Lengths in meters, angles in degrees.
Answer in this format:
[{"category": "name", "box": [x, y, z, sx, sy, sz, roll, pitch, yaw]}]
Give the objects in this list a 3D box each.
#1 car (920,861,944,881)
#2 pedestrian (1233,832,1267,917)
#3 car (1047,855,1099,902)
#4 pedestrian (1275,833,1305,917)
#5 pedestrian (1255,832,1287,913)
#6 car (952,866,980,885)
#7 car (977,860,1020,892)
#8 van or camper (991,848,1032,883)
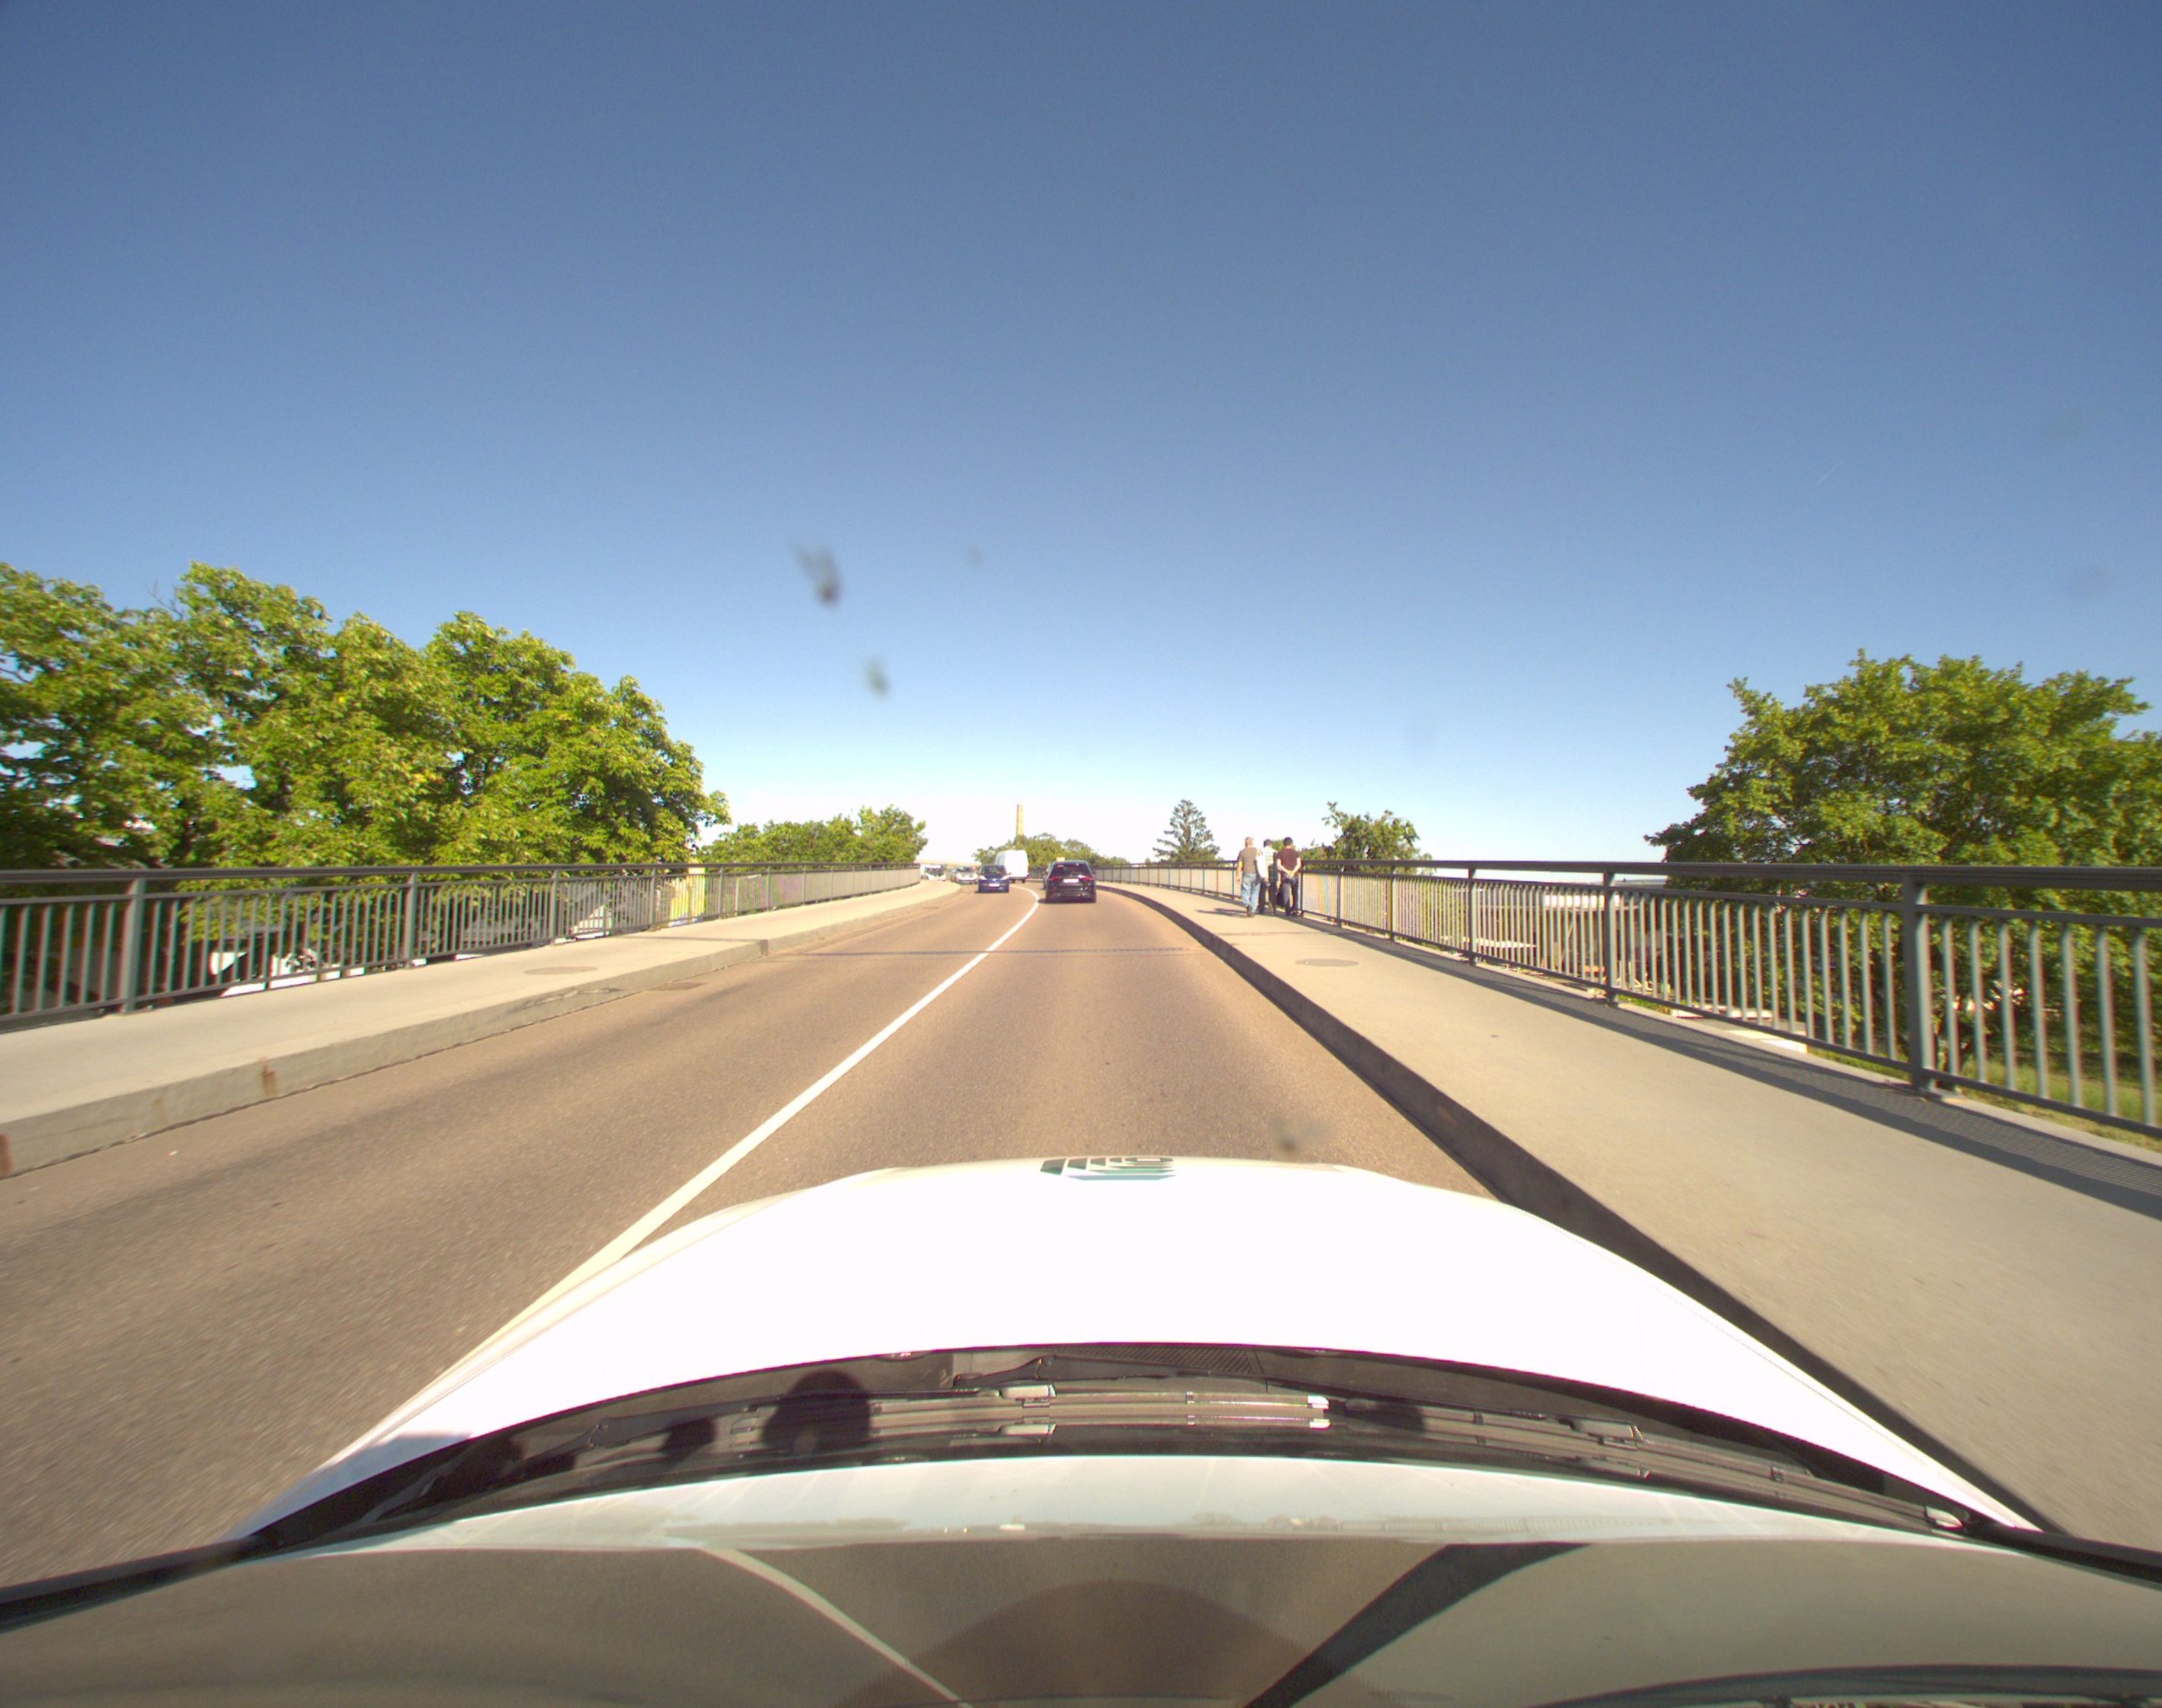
[{"category": "car", "box": [-15.416, 1.758, 84.195, 1.854, 1.798, 3.974, -1, 2, -20]}, {"category": "pedestrian", "box": [3.581, 0.438, 17.320, 0.600, 1.750, 0.717, 0, -3, 2]}, {"category": "car", "box": [-0.349, 0.872, 29.915, 1.765, 1.593, 3.985, 1, -1, -3]}, {"category": "pedestrian", "box": [4.423, 0.447, 17.246, 0.470, 1.750, 0.654, 0, -3, 2]}, {"category": "pedestrian", "box": [4.228, 0.414, 18.141, 0.547, 1.750, 0.739, 0, -3, 2]}, {"category": "car", "box": [-9.252, 1.724, 65.323, 1.869, 1.446, 3.982, 1, -2, -13]}, {"category": "car", "box": [-4.302, 1.137, 42.957, 1.763, 1.592, 3.990, 1, 0, 1]}, {"category": "van or camper", "box": [-5.904, 1.020, 68.131, 2.229, 2.740, 7.044, 1, -2, -14]}]
